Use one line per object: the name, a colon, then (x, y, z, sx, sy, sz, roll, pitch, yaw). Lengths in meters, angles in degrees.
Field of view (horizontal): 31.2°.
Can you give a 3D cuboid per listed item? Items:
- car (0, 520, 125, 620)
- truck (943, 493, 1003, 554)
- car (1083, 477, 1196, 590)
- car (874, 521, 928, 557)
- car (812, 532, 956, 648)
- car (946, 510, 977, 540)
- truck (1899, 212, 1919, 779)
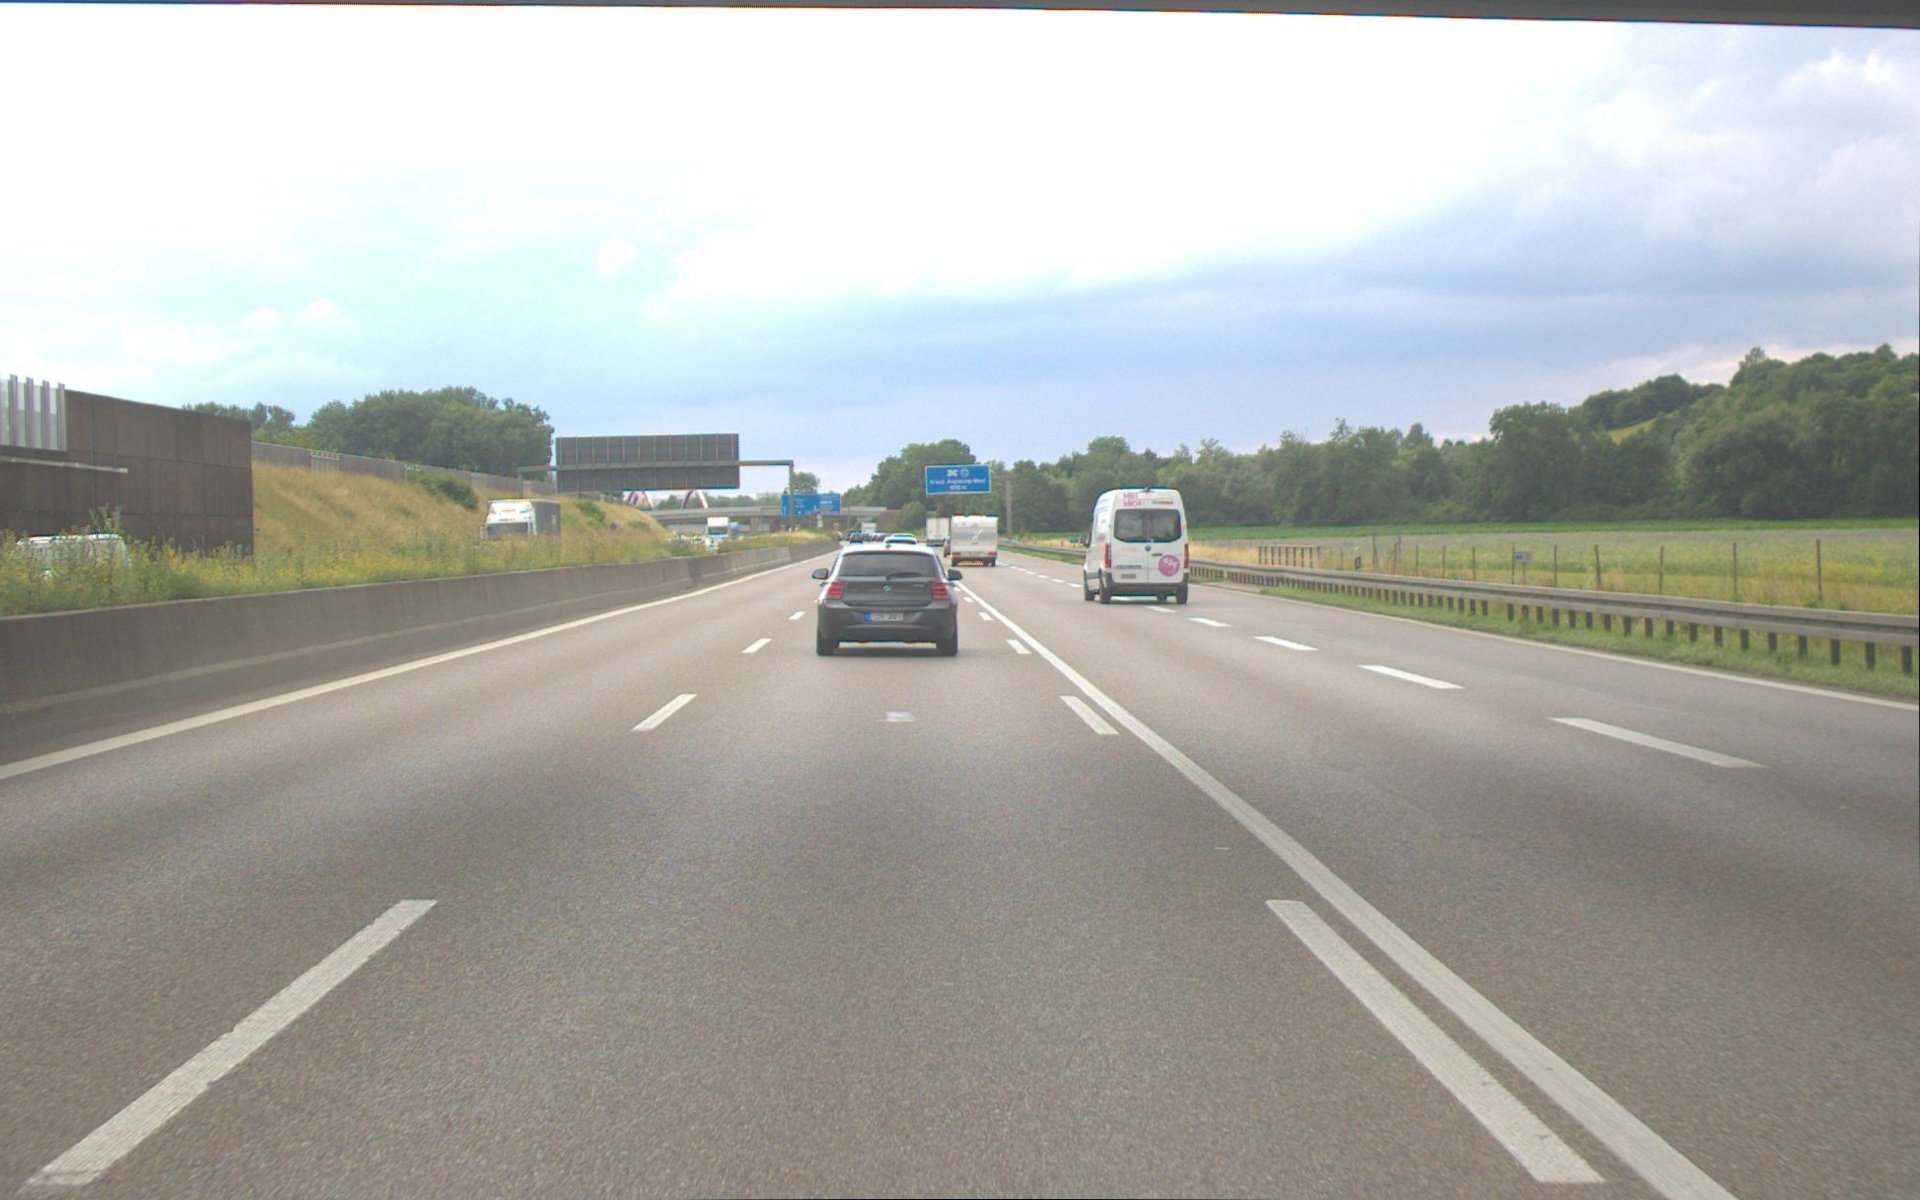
car: (-17.532, -0.611, 66.634, 1.726, 1.823, 4.722, -1, 1, -3)
truck: (0.593, -3.908, 177.012, 2.710, 2.954, 12.448, 1, 1, -1)
car: (4.182, -1.578, 81.045, 2.221, 2.559, 6.256, 0, 1, -1)
car: (-2.248, -2.313, 129.937, 1.993, 1.293, 4.000, -1, 1, -2)
car: (-0.965, -0.165, 44.084, 1.743, 1.384, 4.000, 1, 1, -1)
car: (0.071, -5.162, 237.771, 1.993, 2.007, 4.001, -1, 1, -1)
truck: (7.554, -0.541, 16.847, 3.104, 3.459, 8.892, 1, 1, -2)
